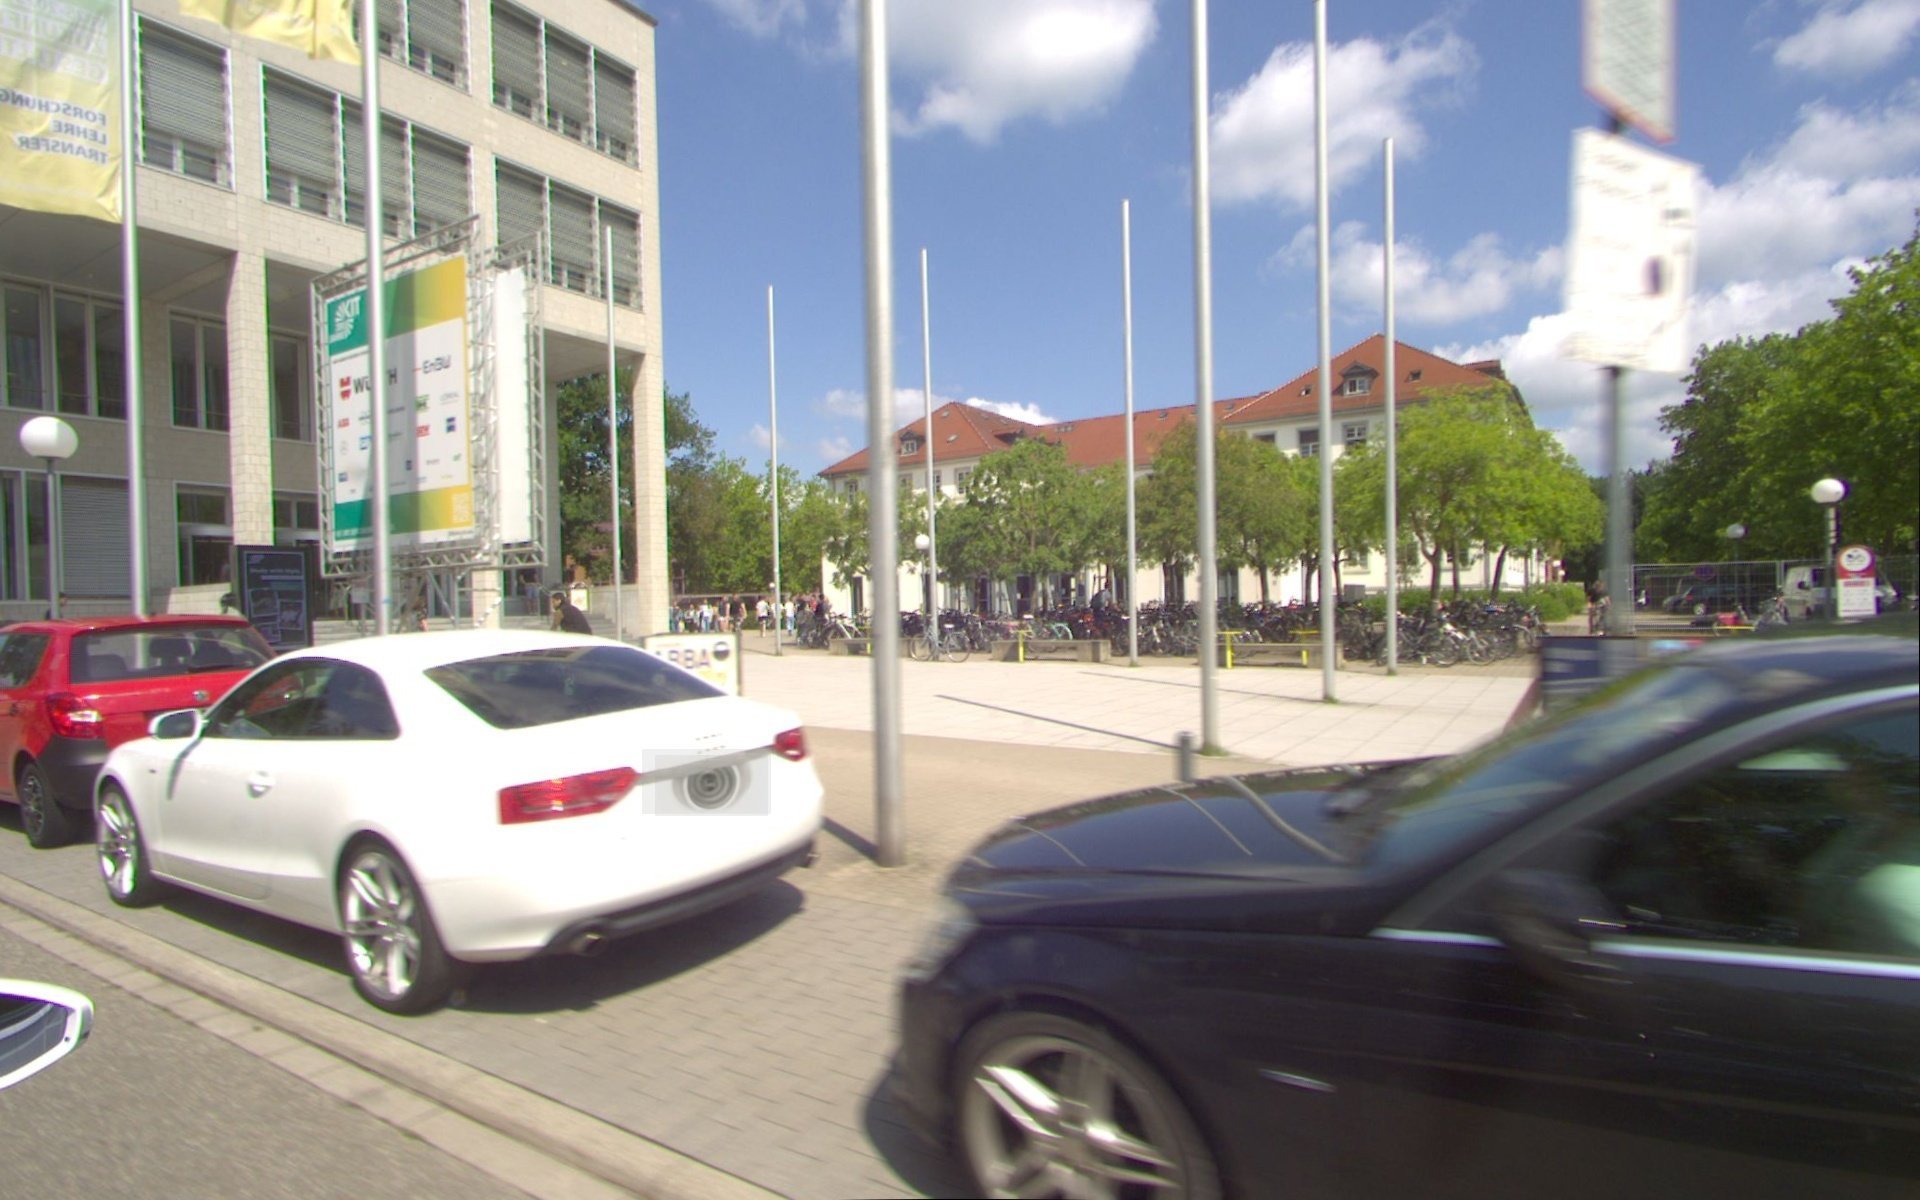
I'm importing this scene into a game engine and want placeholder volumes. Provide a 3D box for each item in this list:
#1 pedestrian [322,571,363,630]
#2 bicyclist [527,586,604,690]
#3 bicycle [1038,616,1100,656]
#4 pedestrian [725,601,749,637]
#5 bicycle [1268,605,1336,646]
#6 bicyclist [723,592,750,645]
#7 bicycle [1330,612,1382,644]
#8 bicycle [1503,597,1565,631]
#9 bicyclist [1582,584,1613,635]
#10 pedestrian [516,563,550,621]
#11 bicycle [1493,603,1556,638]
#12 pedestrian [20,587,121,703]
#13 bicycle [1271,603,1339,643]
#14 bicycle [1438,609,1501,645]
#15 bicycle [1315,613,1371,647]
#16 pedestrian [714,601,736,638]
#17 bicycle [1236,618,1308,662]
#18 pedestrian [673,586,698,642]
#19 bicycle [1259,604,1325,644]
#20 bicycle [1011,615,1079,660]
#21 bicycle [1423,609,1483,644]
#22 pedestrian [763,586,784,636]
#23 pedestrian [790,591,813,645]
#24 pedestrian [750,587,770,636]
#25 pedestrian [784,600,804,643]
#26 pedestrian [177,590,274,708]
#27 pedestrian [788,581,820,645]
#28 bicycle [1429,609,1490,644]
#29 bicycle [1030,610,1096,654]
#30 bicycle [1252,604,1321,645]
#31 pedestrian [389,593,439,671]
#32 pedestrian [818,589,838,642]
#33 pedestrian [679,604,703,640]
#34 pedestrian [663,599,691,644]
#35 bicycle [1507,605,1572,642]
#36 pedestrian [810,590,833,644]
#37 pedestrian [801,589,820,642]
[{"bbox_3d":[-17.408,0.024,28.223,0.707,1.605,0.715,-3,-1,36],"label":"pedestrian"},{"bbox_3d":[-6.238,0.594,15.849,0.917,1.585,0.661,-1,0,20],"label":"bicyclist"},{"bbox_3d":[3.211,1.064,29.683,1.733,1.113,0.604,-3,-1,2],"label":"bicycle"},{"bbox_3d":[-9.399,0.806,42.281,0.705,1.455,0.632,-3,-1,24],"label":"pedestrian"},{"bbox_3d":[10.070,0.751,29.520,1.733,1.113,0.604,-3,-1,2],"label":"bicycle"},{"bbox_3d":[-6.857,0.556,30.705,0.669,1.590,0.879,0,1,-4],"label":"bicyclist"},{"bbox_3d":[15.211,1.076,38.486,1.733,1.113,0.604,-3,-1,2],"label":"bicycle"},{"bbox_3d":[20.137,0.506,35.148,1.733,1.113,0.604,-3,-1,2],"label":"bicycle"},{"bbox_3d":[17.128,0.247,26.912,0.598,1.338,0.739,0,1,27],"label":"bicyclist"},{"bbox_3d":[-13.863,-0.247,32.513,0.707,1.821,0.715,-3,-1,36],"label":"pedestrian"},{"bbox_3d":[19.205,0.694,34.086,1.733,1.113,0.604,-3,-1,3],"label":"bicycle"},{"bbox_3d":[-15.666,0.773,17.641,1.007,1.945,1.092,-1,0,34],"label":"pedestrian"},{"bbox_3d":[9.919,0.670,28.819,1.733,1.113,0.604,-1,-1,2],"label":"bicycle"},{"bbox_3d":[16.974,0.894,33.373,1.733,1.113,0.604,-3,-1,3],"label":"bicycle"},{"bbox_3d":[13.663,1.072,35.771,1.733,1.113,0.604,-3,-1,2],"label":"bicycle"},{"bbox_3d":[-9.725,0.813,41.449,0.626,1.517,0.712,-2,-1,-35],"label":"pedestrian"},{"bbox_3d":[8.544,1.108,27.484,1.733,1.113,0.604,-3,-1,2],"label":"bicycle"},{"bbox_3d":[-11.377,0.570,41.485,0.708,2.258,0.629,-2,-1,-39],"label":"pedestrian"},{"bbox_3d":[10.054,0.728,30.370,1.733,1.113,0.604,-3,-1,2],"label":"bicycle"},{"bbox_3d":[2.245,0.998,26.675,1.733,1.113,0.604,-3,-1,2],"label":"bicycle"},{"bbox_3d":[17.120,0.928,34.797,1.733,1.113,0.604,-3,-1,3],"label":"bicycle"},{"bbox_3d":[-8.638,0.528,46.438,0.702,2.258,0.634,-3,-1,4],"label":"pedestrian"},{"bbox_3d":[-5.362,0.615,33.916,0.623,1.769,0.716,-2,-1,-15],"label":"pedestrian"},{"bbox_3d":[-9.338,0.536,46.839,0.702,2.258,0.634,-3,-1,3],"label":"pedestrian"},{"bbox_3d":[-7.161,0.940,43.198,0.622,1.800,0.716,-3,-1,3],"label":"pedestrian"},{"bbox_3d":[-11.410,0.742,15.565,0.987,1.763,0.916,-1,0,33],"label":"pedestrian"},{"bbox_3d":[-5.642,0.467,36.265,0.844,2.258,0.630,-2,-1,-38],"label":"pedestrian"},{"bbox_3d":[16.999,0.899,34.095,1.733,1.113,0.604,-3,-1,3],"label":"bicycle"},{"bbox_3d":[2.817,0.881,27.598,1.733,1.113,0.604,-3,-1,2],"label":"bicycle"},{"bbox_3d":[9.171,0.683,28.167,1.733,1.113,0.604,-1,-1,2],"label":"bicycle"},{"bbox_3d":[-11.893,0.692,21.837,0.724,1.661,0.691,-1,0,-5],"label":"pedestrian"},{"bbox_3d":[-5.689,0.663,43.101,0.622,2.258,0.716,-3,-1,3],"label":"pedestrian"},{"bbox_3d":[-10.986,0.906,40.878,0.708,1.449,0.629,-2,-1,-39],"label":"pedestrian"},{"bbox_3d":[-11.235,0.846,39.738,0.862,1.723,0.629,-2,-1,-39],"label":"pedestrian"},{"bbox_3d":[19.118,0.782,33.038,1.733,1.113,0.604,-3,-1,3],"label":"bicycle"},{"bbox_3d":[-4.698,0.587,34.039,0.623,1.769,0.716,-2,-1,-15],"label":"pedestrian"},{"bbox_3d":[-6.447,0.667,43.222,0.622,2.258,0.716,-3,-1,3],"label":"pedestrian"}]
